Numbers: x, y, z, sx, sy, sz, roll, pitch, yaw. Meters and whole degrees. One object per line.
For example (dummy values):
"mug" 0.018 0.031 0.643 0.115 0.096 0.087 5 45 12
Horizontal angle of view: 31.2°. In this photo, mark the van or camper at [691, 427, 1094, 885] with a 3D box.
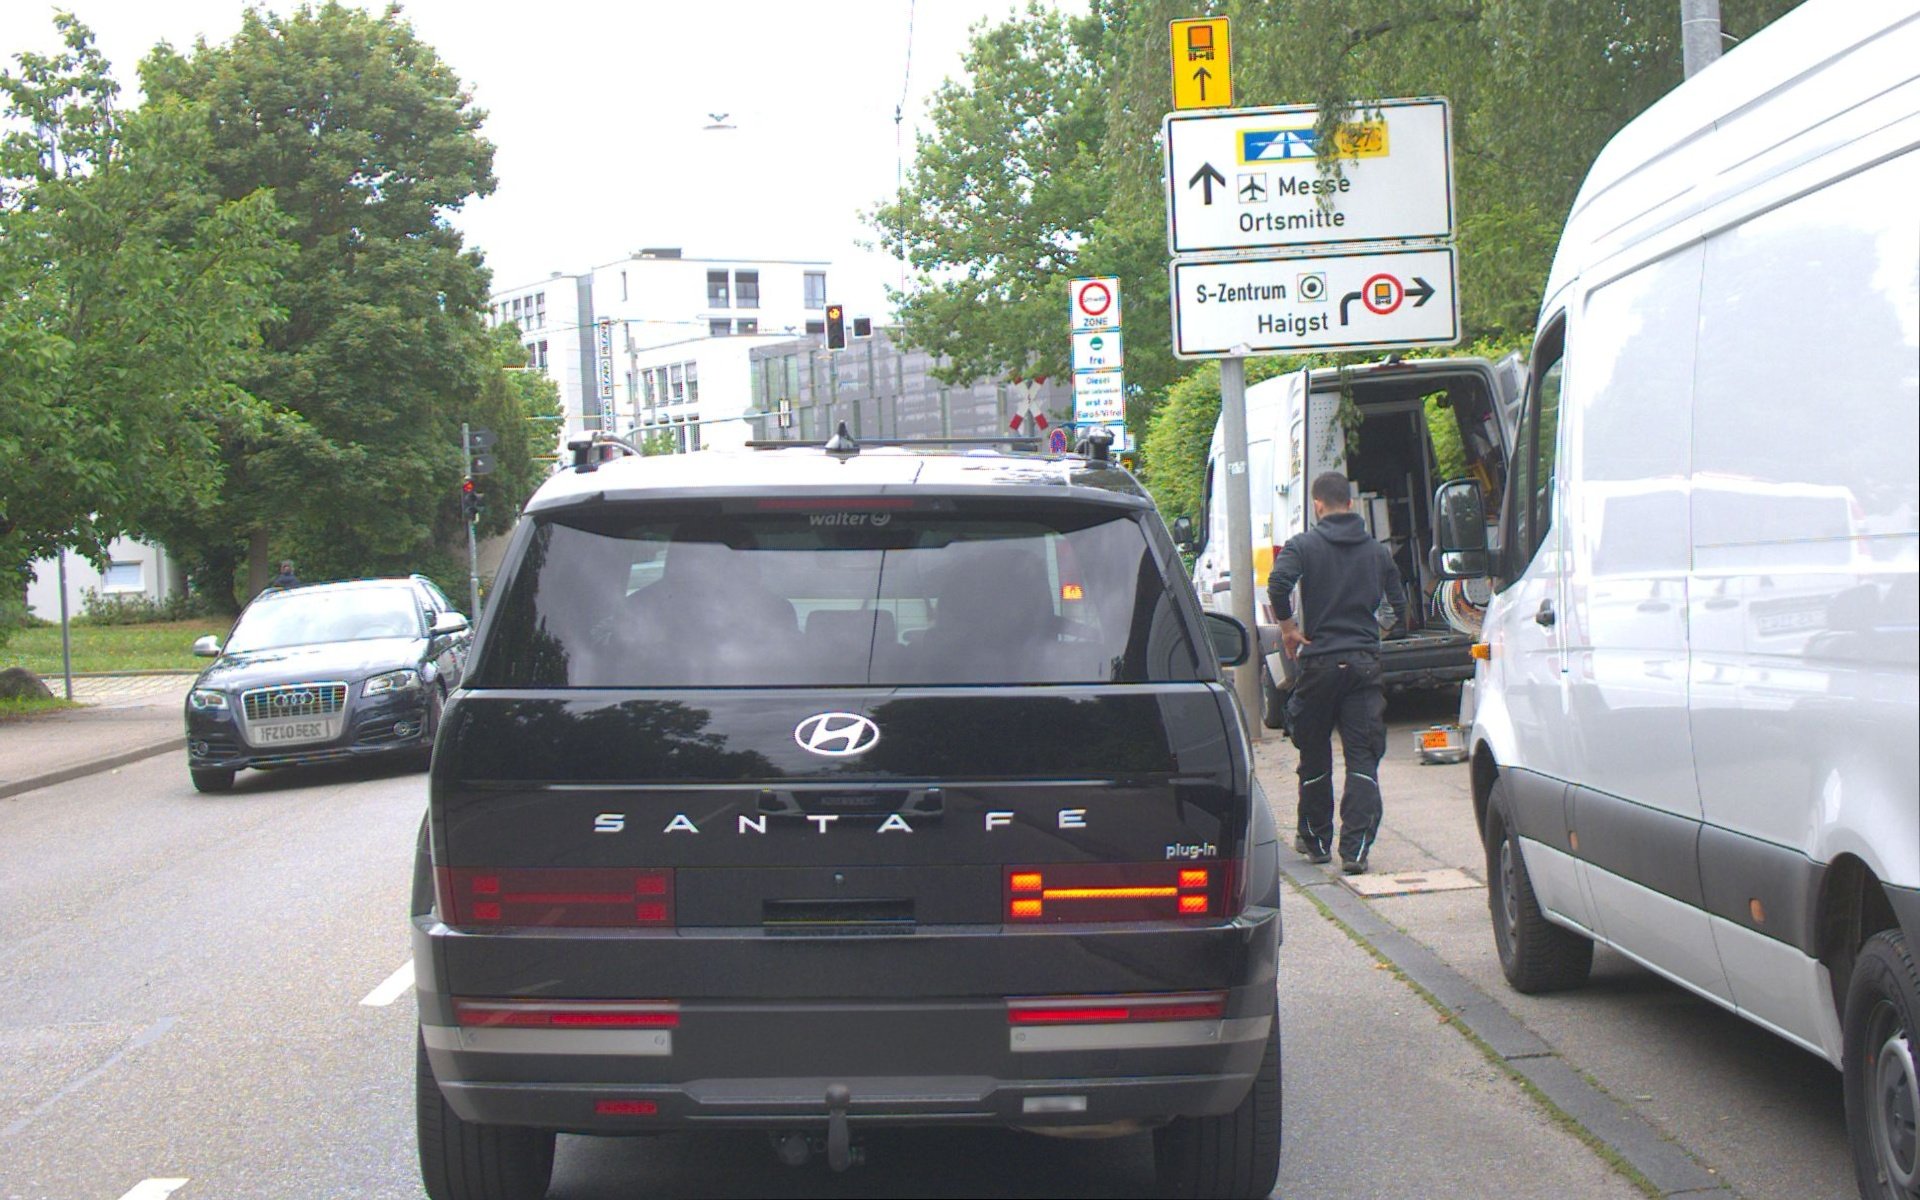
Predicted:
"van or camper" -0.327 0.219 17.505 1.754 2.007 4.000 -2 1 -1

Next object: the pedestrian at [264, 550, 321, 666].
"pedestrian" -10.062 0.119 51.864 0.738 1.709 0.793 -2 1 -7

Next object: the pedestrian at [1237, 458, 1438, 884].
"pedestrian" 1.640 0.295 15.058 0.757 1.791 0.872 -2 1 2

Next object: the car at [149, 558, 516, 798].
"car" -4.458 0.494 25.036 1.859 1.448 4.111 -4 1 -1

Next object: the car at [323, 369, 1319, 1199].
"car" -0.285 0.437 8.562 1.889 1.813 4.000 0 1 -1

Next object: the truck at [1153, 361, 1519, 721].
"truck" 2.933 -0.458 28.046 1.942 2.553 5.217 -4 1 -4

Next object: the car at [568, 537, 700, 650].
"car" -5.277 -0.137 56.091 1.785 1.648 4.121 -4 1 -2

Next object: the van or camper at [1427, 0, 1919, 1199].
"van or camper" 2.624 -0.087 8.149 1.993 2.611 6.541 -2 1 -1
